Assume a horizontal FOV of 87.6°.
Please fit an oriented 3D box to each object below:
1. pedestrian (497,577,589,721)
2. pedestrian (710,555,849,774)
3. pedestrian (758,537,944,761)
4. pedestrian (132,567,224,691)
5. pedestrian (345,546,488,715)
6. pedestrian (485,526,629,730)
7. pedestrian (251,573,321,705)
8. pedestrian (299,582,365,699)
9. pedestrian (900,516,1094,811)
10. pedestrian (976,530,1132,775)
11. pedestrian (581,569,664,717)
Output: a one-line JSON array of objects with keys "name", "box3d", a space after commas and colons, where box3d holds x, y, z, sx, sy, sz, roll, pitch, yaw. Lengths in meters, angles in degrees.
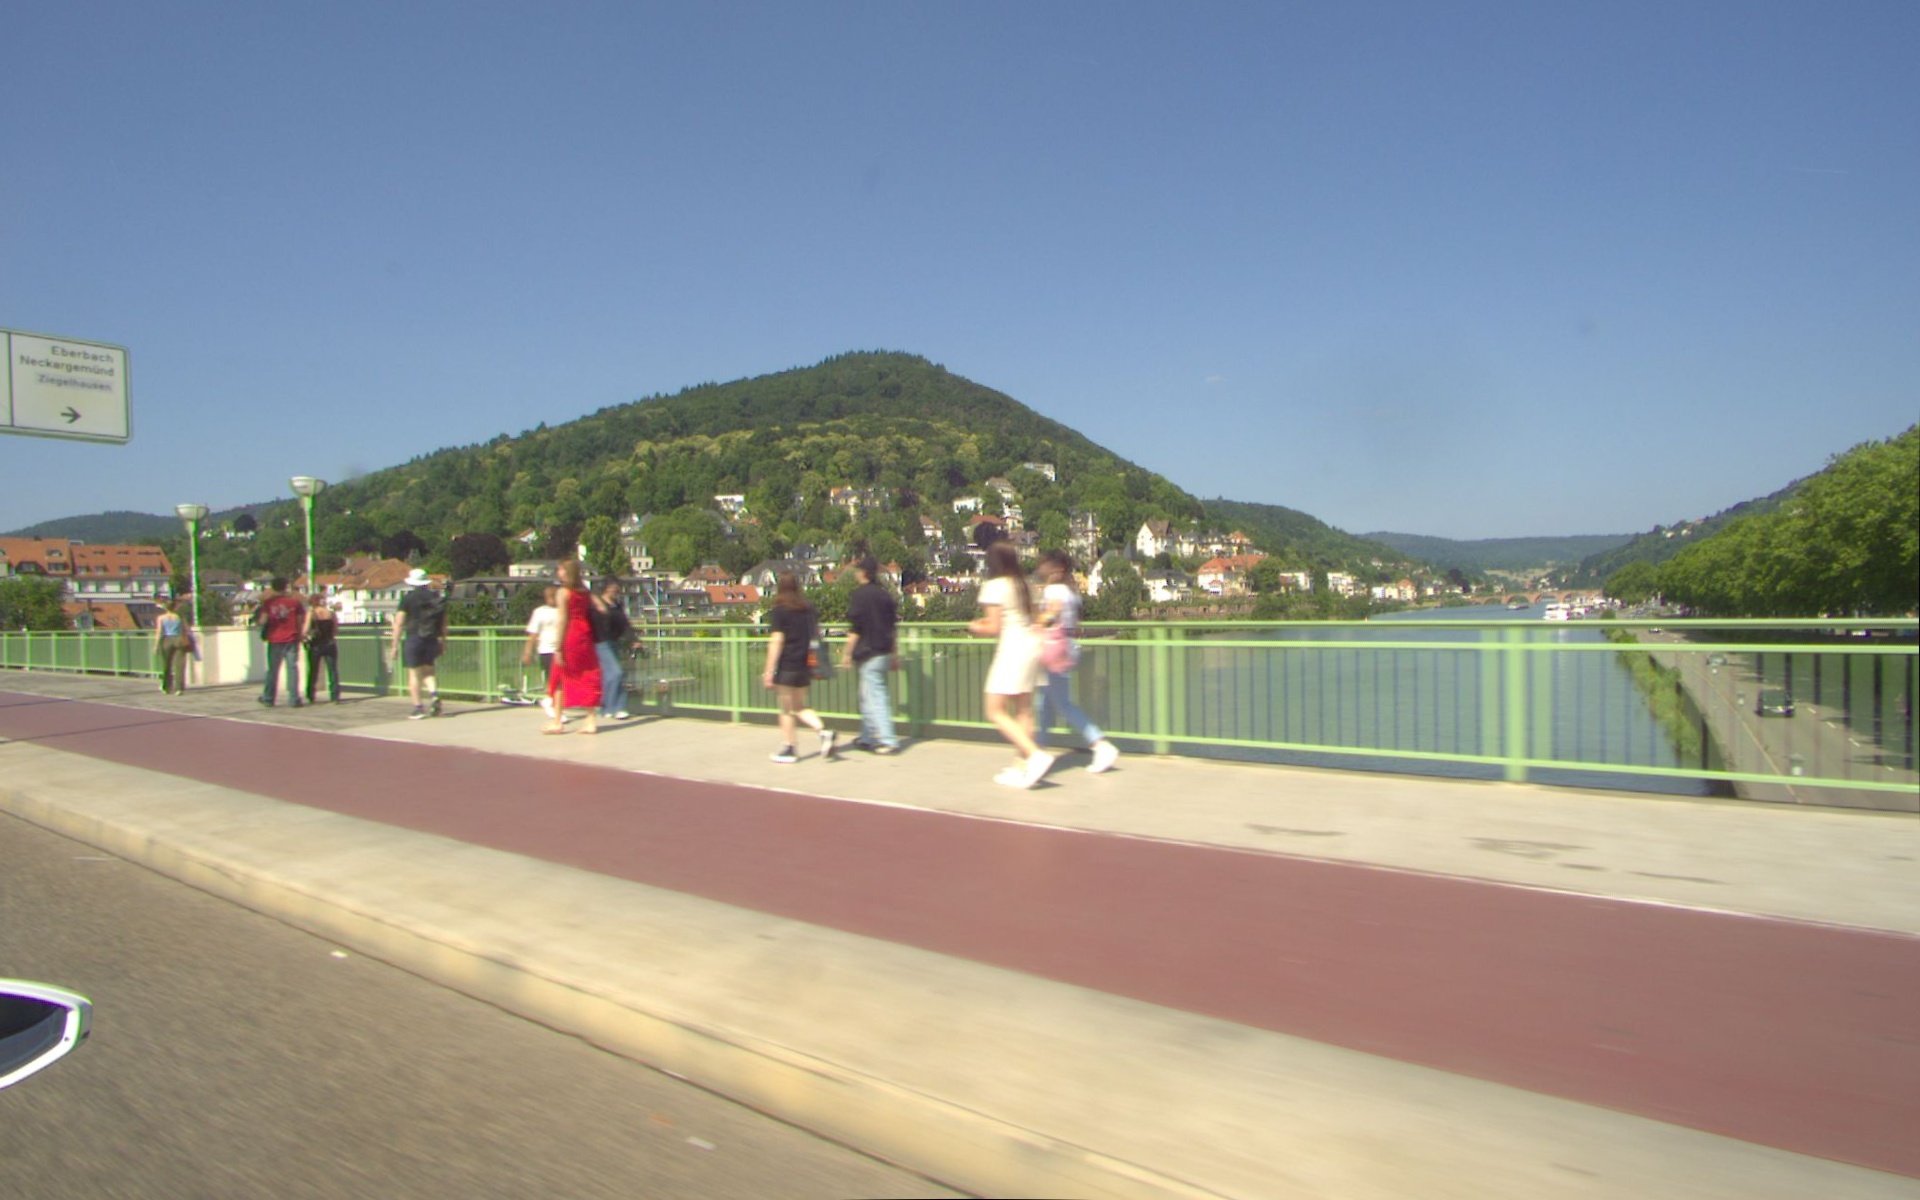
[{"name": "pedestrian", "box3d": [-4.728, 0.532, 11.376, 0.681, 1.584, 0.649, 0, 2, 28]}, {"name": "pedestrian", "box3d": [-1.462, 0.502, 8.134, 0.855, 1.671, 0.653, -1, 0, 30]}, {"name": "pedestrian", "box3d": [-0.943, 0.396, 8.750, 1.236, 1.793, 0.982, -1, 1, 33]}, {"name": "pedestrian", "box3d": [-13.393, 0.491, 17.157, 1.043, 2.040, 0.872, -1, 0, 30]}, {"name": "pedestrian", "box3d": [-6.567, 0.365, 12.105, 1.235, 1.920, 0.983, -1, 0, 30]}, {"name": "pedestrian", "box3d": [-4.177, 0.281, 10.407, 0.926, 1.979, 1.013, -1, 0, 33]}, {"name": "pedestrian", "box3d": [-9.561, 0.542, 14.215, 0.623, 1.817, 0.584, -1, 0, 30]}, {"name": "pedestrian", "box3d": [-9.191, 0.591, 14.662, 0.689, 1.671, 0.522, -1, 0, 30]}, {"name": "pedestrian", "box3d": [0.268, 0.394, 6.685, 0.916, 1.773, 0.983, -1, 0, 29]}, {"name": "pedestrian", "box3d": [0.716, 0.374, 7.510, 0.872, 1.699, 0.832, -1, 0, 29]}, {"name": "pedestrian", "box3d": [-3.914, 0.487, 11.623, 0.683, 1.653, 0.647, 0, 0, 36]}]
